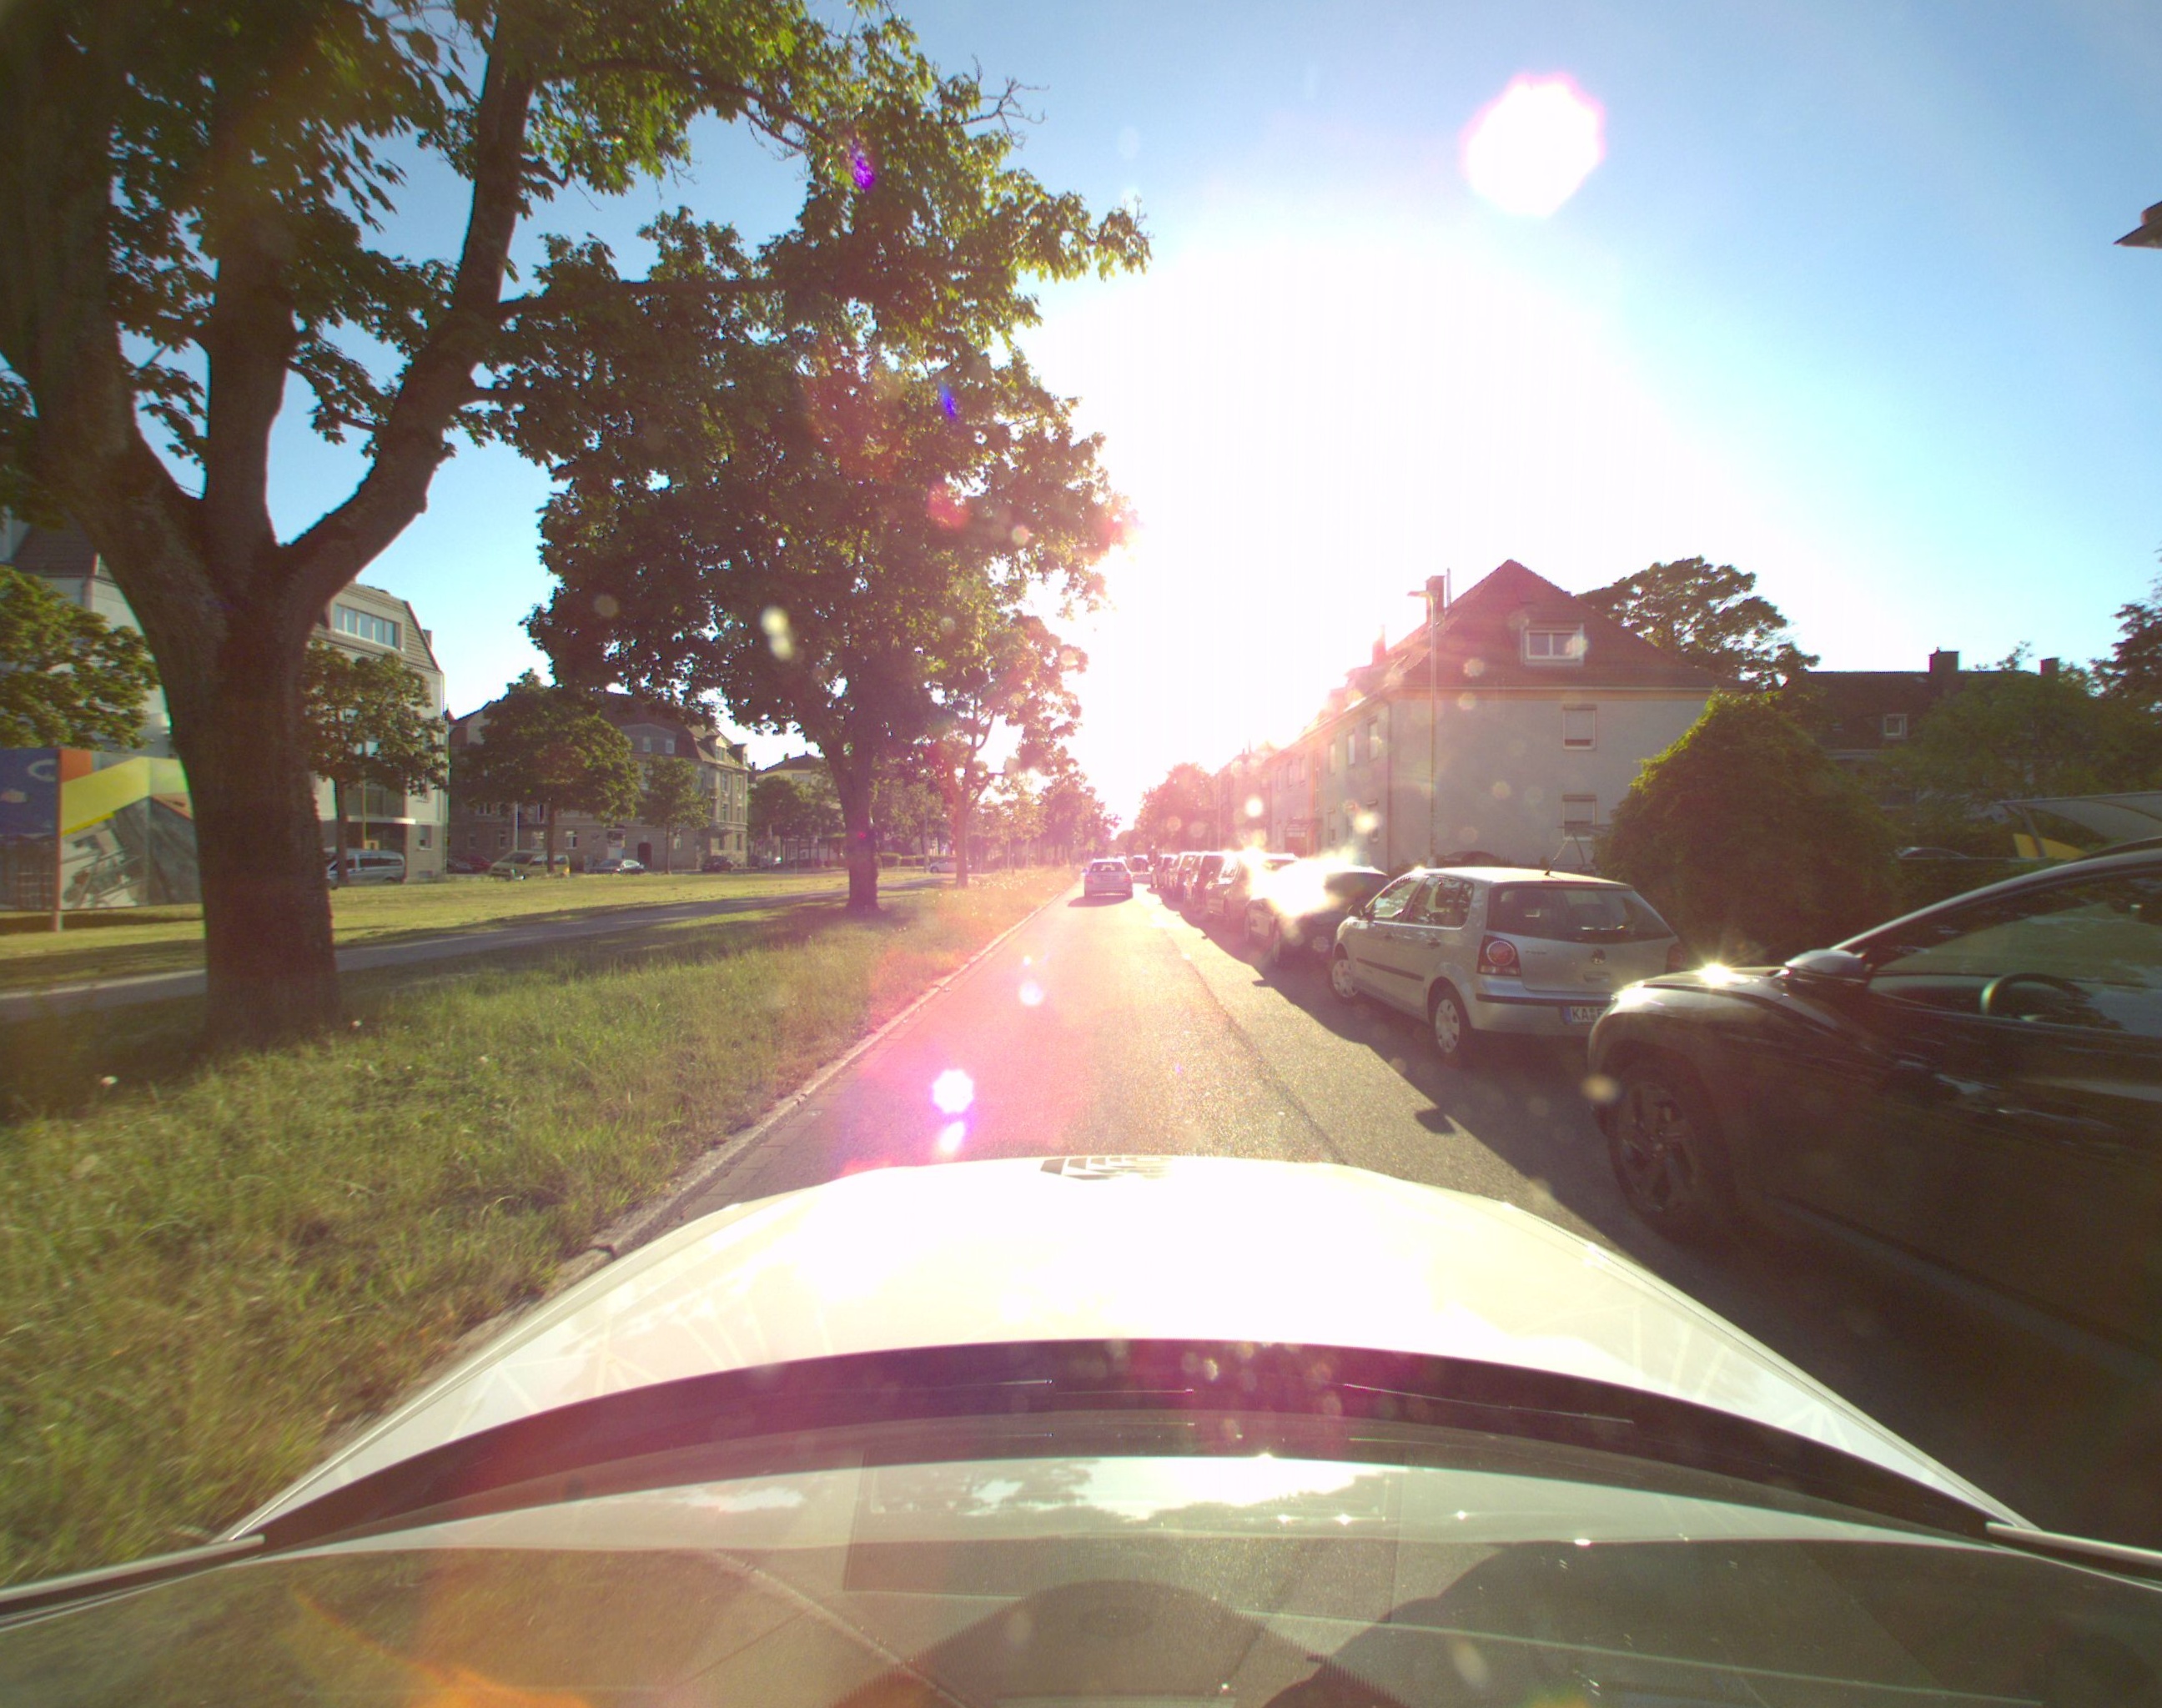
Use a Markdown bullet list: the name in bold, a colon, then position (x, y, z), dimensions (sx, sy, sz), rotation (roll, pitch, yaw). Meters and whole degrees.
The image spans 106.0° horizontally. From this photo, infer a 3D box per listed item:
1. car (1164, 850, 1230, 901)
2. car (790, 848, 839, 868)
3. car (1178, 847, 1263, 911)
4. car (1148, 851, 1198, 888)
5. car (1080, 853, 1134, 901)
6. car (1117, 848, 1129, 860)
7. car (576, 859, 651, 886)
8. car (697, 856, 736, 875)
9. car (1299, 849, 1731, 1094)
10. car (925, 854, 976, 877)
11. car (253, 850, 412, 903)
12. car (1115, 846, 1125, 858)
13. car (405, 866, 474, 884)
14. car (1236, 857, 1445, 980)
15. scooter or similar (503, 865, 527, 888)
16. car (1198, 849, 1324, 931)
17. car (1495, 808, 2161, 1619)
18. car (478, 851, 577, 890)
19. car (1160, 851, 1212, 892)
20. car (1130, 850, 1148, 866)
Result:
- **car**: position (4.040, 0.707, 28.961), dimensions (1.770, 1.643, 4.758), rotation (-1, 0, 1)
- **car**: position (-37.763, 0.542, 115.297), dimensions (6.332, 2.720, 1.984), rotation (-1, 0, -29)
- **car**: position (3.910, 0.663, 23.524), dimensions (1.759, 1.635, 4.766), rotation (0, 0, 1)
- **car**: position (4.354, 0.713, 39.155), dimensions (1.712, 1.639, 4.561), rotation (1, 0, -2)
- **car**: position (0.978, 0.802, 30.250), dimensions (1.816, 1.566, 4.003), rotation (-2, 1, 2)
- **car**: position (7.228, -0.041, 141.277), dimensions (1.981, 2.023, 4.003), rotation (-1, 0, 2)
- **car**: position (-31.982, 1.237, 55.905), dimensions (1.975, 1.637, 4.832), rotation (-4, -1, 4)
- **car**: position (-36.413, 1.136, 81.478), dimensions (1.636, 1.707, 4.297), rotation (-4, -1, 3)
- **car**: position (3.493, 0.807, 7.591), dimensions (1.722, 1.548, 4.207), rotation (4, 0, 0)
- **car**: position (-10.858, 0.971, 68.160), dimensions (3.883, 1.596, 1.998), rotation (-4, -1, -2)
- **car**: position (-32.666, 0.943, 35.820), dimensions (2.013, 2.001, 5.368), rotation (-4, -1, -1)
- **car**: position (7.675, -0.406, 159.336), dimensions (1.854, 2.193, 5.073), rotation (-1, 0, 2)
- **car**: position (-49.297, 1.619, 62.594), dimensions (3.972, 1.218, 1.695), rotation (-1, 0, 1)
- **car**: position (3.700, 0.817, 12.538), dimensions (1.985, 1.462, 4.565), rotation (1, 0, 3)
- **scooter or similar**: position (-28.033, 1.112, 40.361), dimensions (0.391, 1.127, 1.294), rotation (0, 0, -6)
- **car**: position (3.743, 0.677, 17.716), dimensions (1.719, 1.561, 4.415), rotation (0, 0, -1)
- **car**: position (3.156, 0.735, 2.152), dimensions (1.847, 1.657, 4.823), rotation (0, 1, 2)
- **car**: position (-32.048, 0.937, 47.387), dimensions (1.986, 2.057, 5.055), rotation (-4, -1, 2)
- **car**: position (4.313, 0.665, 33.897), dimensions (1.723, 1.526, 3.736), rotation (-2, 0, 1)
- **car**: position (5.914, 0.417, 82.914), dimensions (1.715, 1.597, 4.002), rotation (-1, -1, 2)
